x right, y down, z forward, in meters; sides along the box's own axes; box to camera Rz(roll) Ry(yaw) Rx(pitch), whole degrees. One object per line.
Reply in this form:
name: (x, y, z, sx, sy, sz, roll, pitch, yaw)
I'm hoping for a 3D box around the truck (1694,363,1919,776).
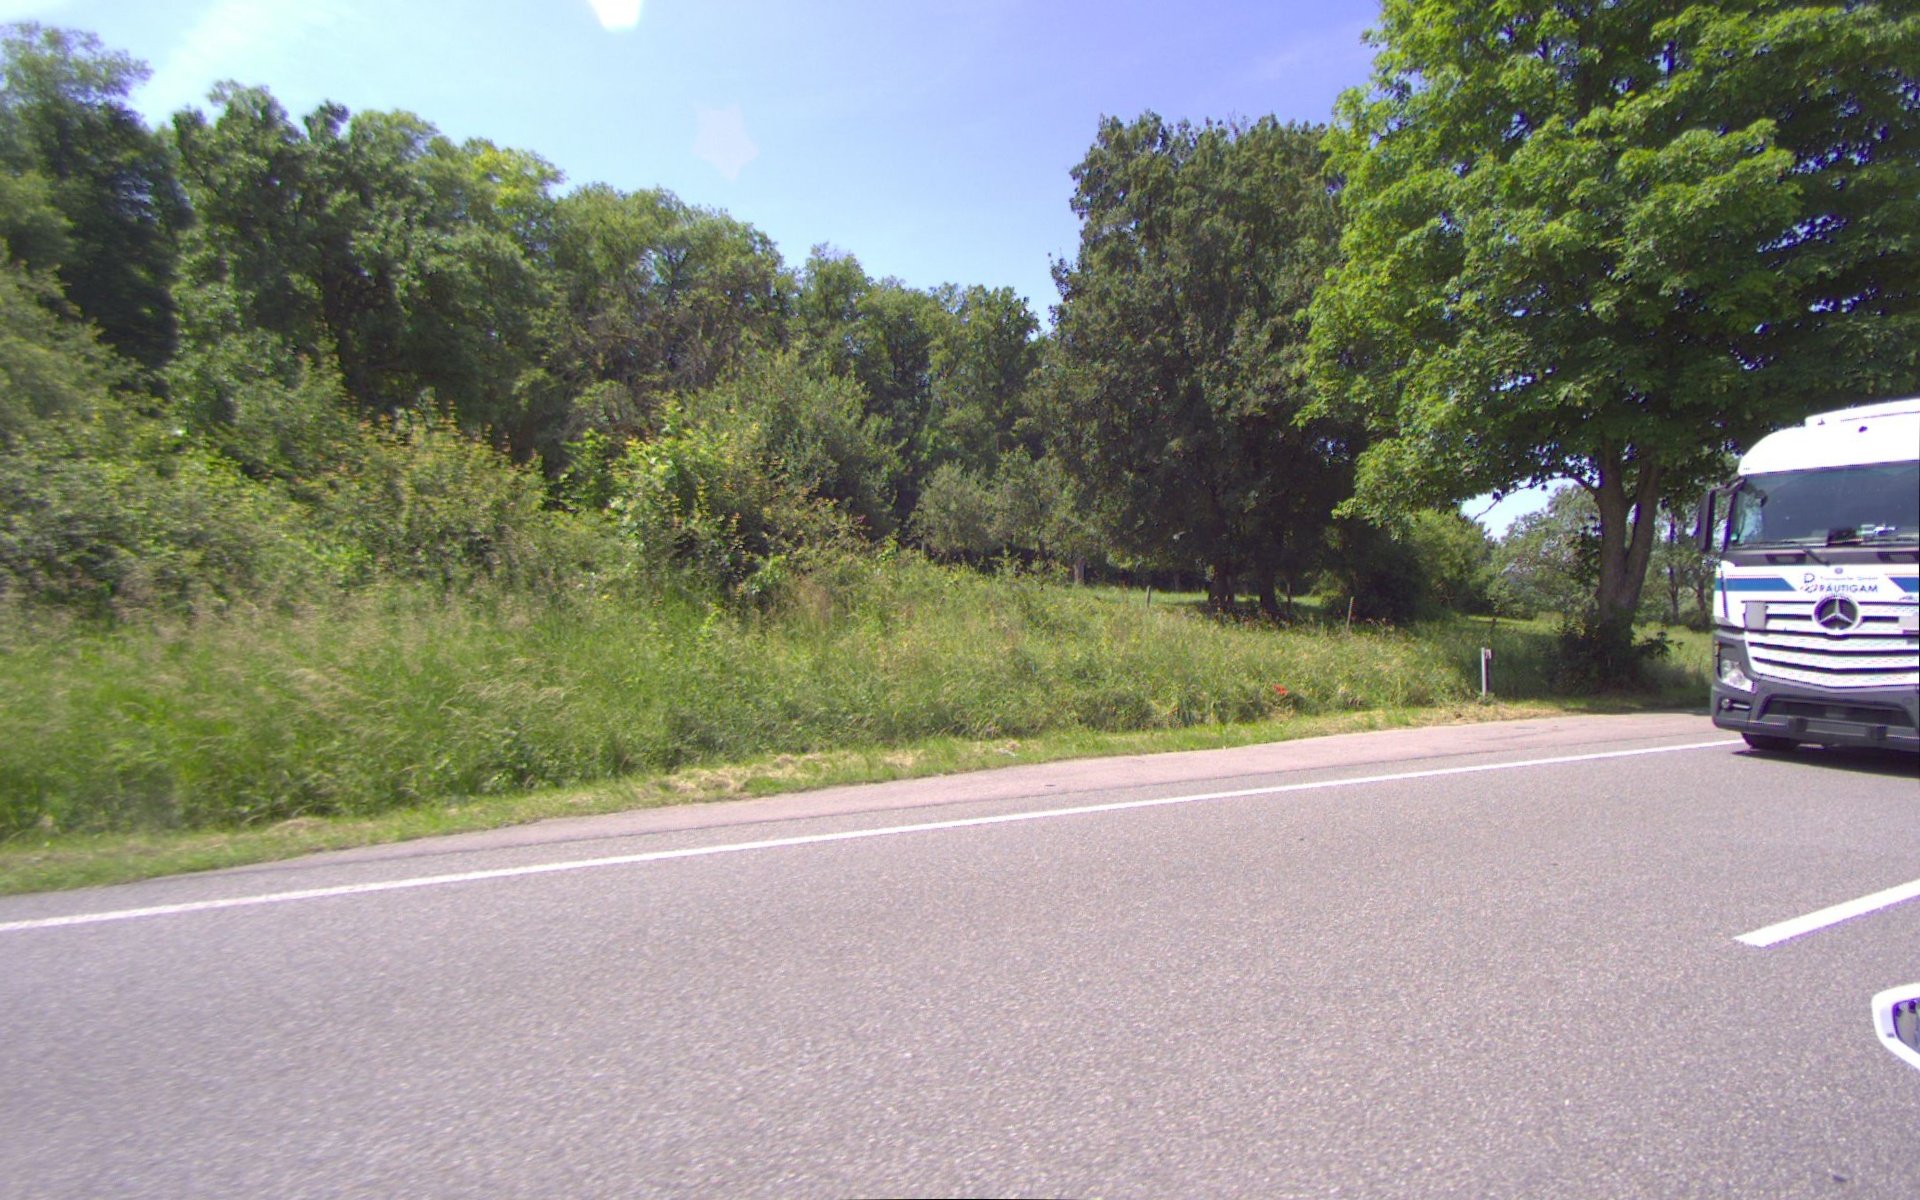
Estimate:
truck: (15.949, -0.191, 14.164, 15.964, 3.992, 2.549, 1, 1, -29)
